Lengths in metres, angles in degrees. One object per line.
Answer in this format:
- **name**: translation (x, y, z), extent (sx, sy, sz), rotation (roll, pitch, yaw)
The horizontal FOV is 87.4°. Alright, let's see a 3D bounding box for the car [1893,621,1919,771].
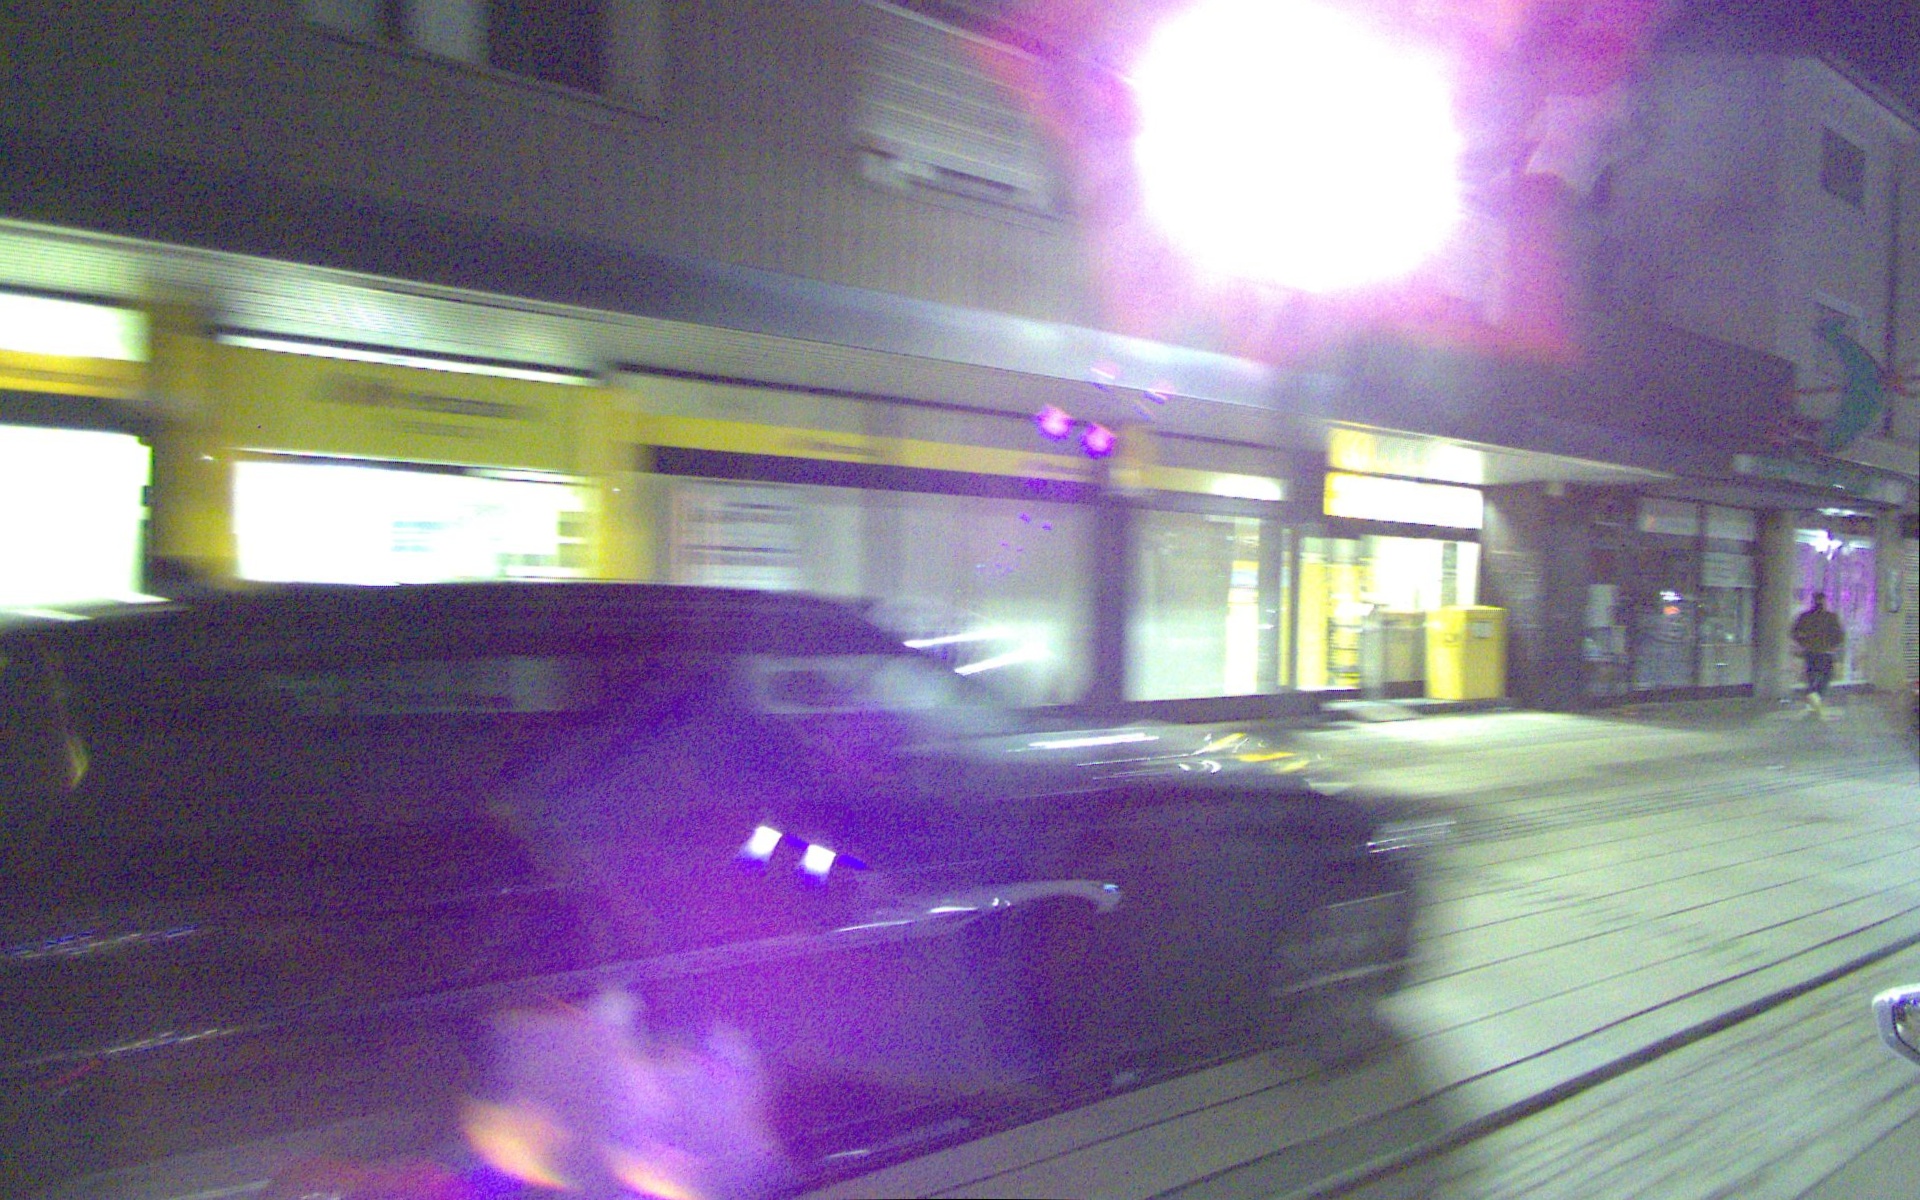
- **car**: translation (11.409, 0.980, 10.143), extent (4.334, 1.432, 1.708), rotation (1, 1, -30)

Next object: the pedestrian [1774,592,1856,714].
- **pedestrian**: translation (12.894, 0.782, 15.144), extent (1.011, 1.769, 0.618), rotation (1, 0, -31)

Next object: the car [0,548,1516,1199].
- **car**: translation (-0.457, 0.695, 2.979), extent (4.273, 1.498, 1.787), rotation (2, 2, -32)
